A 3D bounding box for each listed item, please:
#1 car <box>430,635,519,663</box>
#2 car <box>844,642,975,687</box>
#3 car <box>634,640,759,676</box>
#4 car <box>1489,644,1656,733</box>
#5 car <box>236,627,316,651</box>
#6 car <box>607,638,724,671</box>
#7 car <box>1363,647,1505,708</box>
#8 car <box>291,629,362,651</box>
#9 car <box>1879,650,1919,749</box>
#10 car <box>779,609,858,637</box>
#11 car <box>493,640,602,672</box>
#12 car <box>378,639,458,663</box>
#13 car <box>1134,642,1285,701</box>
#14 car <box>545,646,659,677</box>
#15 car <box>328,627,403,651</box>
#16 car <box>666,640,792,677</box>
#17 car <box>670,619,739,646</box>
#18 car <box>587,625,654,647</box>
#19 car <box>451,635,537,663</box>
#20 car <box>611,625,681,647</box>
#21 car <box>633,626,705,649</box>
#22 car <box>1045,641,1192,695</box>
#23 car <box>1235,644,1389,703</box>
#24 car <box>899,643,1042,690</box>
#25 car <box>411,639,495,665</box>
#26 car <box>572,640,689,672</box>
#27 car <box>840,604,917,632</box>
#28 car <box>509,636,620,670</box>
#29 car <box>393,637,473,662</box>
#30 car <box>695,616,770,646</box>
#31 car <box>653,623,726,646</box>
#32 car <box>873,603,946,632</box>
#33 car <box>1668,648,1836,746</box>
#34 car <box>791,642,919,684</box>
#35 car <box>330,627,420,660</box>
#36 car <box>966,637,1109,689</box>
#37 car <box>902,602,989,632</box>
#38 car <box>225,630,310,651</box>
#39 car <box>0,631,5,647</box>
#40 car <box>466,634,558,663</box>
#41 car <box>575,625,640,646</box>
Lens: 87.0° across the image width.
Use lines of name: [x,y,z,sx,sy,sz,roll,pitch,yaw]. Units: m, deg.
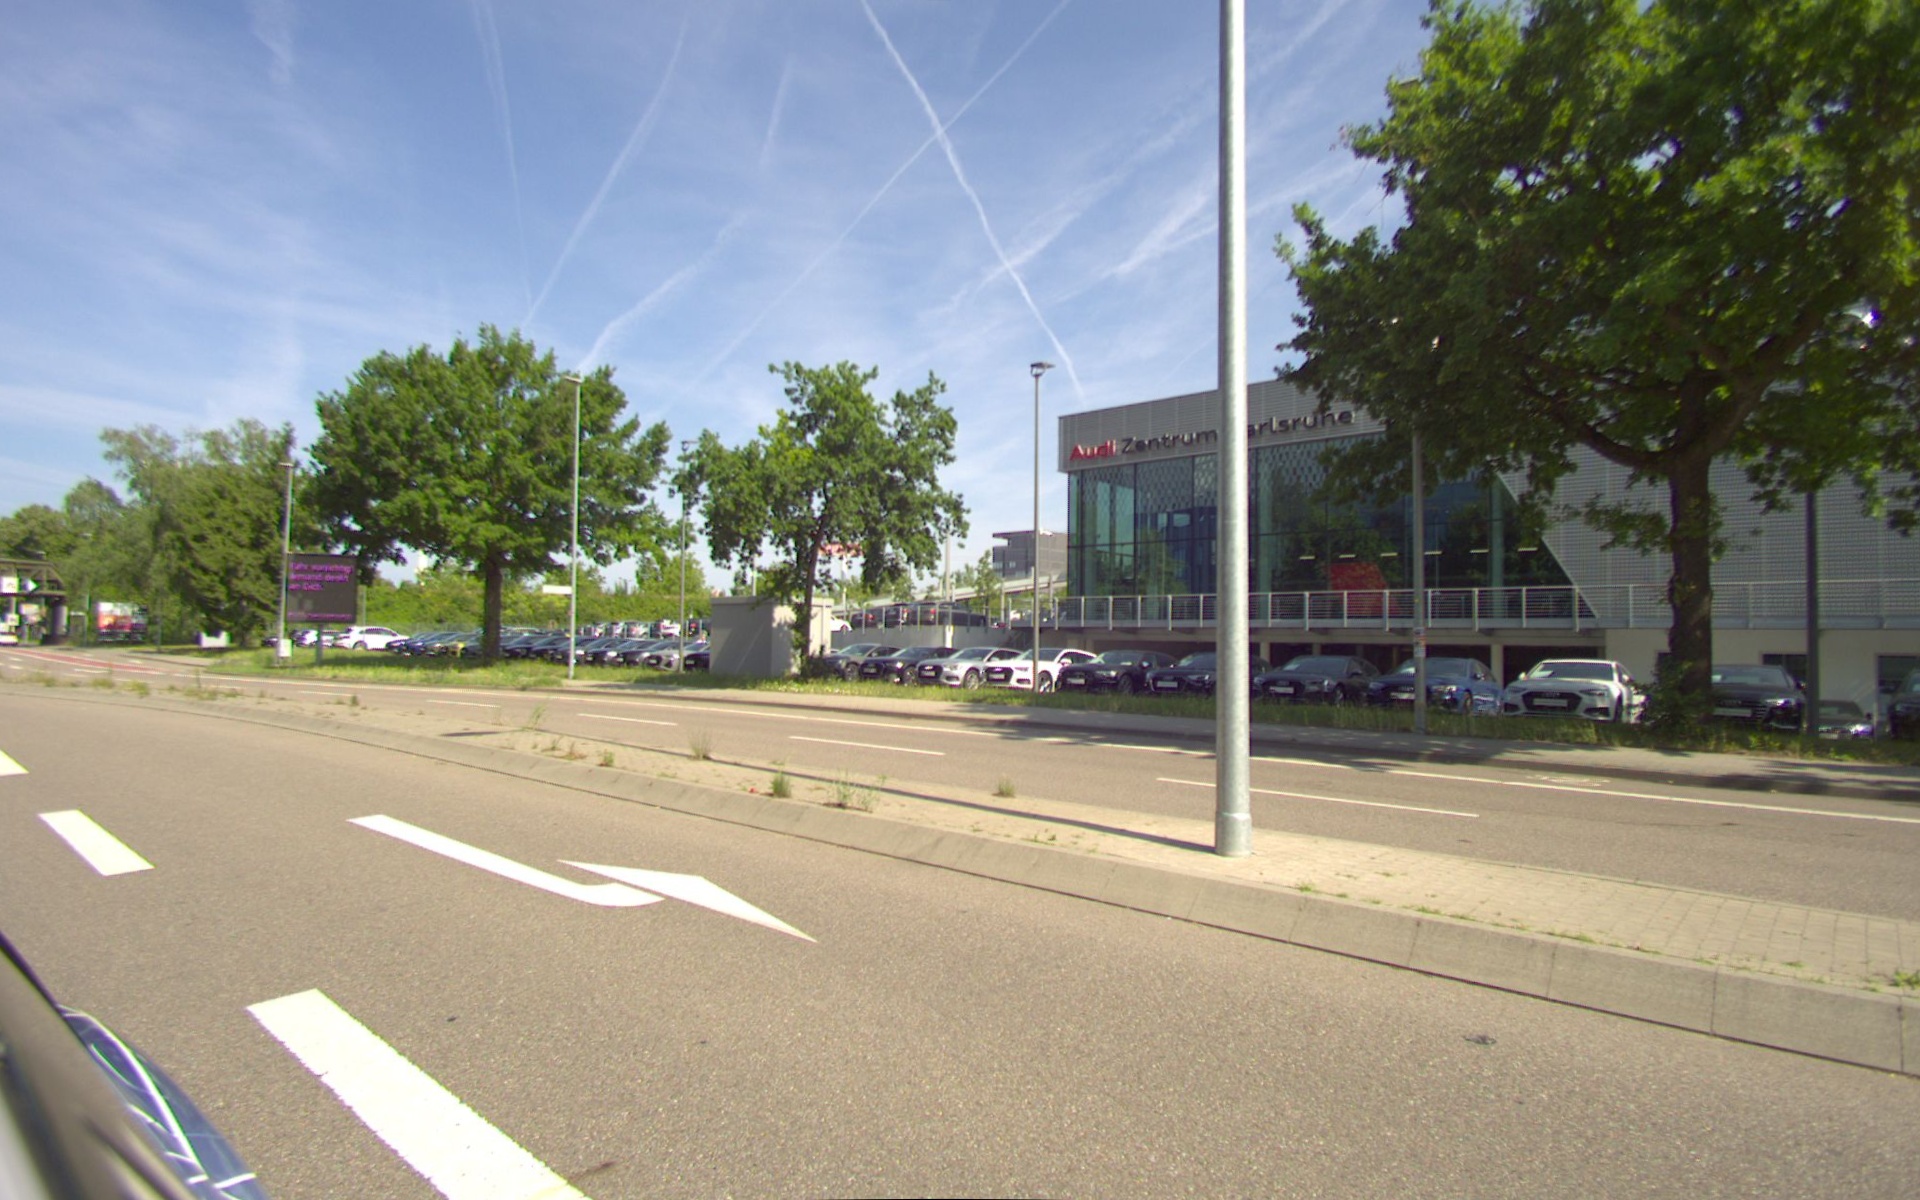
car: [-25.797,2.629,53.873,1.838,1.351,3.848,-2,-5,39]
car: [-1.511,2.020,31.401,1.895,1.165,3.947,-2,-7,39]
car: [-10.327,2.267,39.928,2.002,1.300,4.454,-1,-3,39]
car: [11.595,1.697,19.065,2.000,1.453,3.944,-2,-7,42]
car: [-46.883,2.660,69.443,1.999,1.558,4.169,-2,-2,41]
car: [-12.023,2.226,41.565,1.690,1.300,4.454,-1,-3,39]
car: [9.836,1.625,20.852,1.695,1.042,4.066,-2,-7,39]
car: [-42.075,2.632,67.244,1.816,1.381,3.641,-2,-2,41]
car: [15.869,1.650,15.939,2.000,1.453,4.095,-2,-7,42]
car: [-8.291,1.388,59.506,1.978,1.496,4.454,-1,-3,39]
car: [-19.792,2.683,48.740,1.978,1.487,4.454,-1,-3,39]
car: [-31.571,2.939,58.998,1.743,1.295,3.753,-2,-2,39]
car: [6.097,1.760,24.412,1.953,1.199,4.132,-2,-7,39]
car: [-15.914,2.712,45.160,1.918,1.300,4.454,-1,-3,39]
car: [-39.035,2.546,66.520,1.848,1.497,3.941,-2,-2,45]
car: [-8.690,2.207,38.392,1.918,1.300,4.454,-1,-3,39]
car: [-16.767,2.153,66.616,1.663,1.718,4.225,-1,-3,39]
car: [-24.495,2.593,73.119,1.997,1.488,4.161,-2,-2,38]
car: [-23.970,2.528,52.110,1.863,1.295,3.558,-2,-5,39]
car: [-22.148,2.530,71.515,1.889,1.429,4.454,-2,-2,39]
car: [-20.074,2.602,69.882,1.978,1.496,4.454,-1,-3,39]
car: [4.197,1.797,26.371,1.953,1.199,4.132,-2,-7,39]
car: [7.944,1.668,22.595,1.953,1.086,4.132,-2,-7,39]
car: [0.367,1.978,29.899,2.085,1.165,4.132,-2,-7,39]
car: [-27.762,2.852,55.485,1.662,1.295,3.704,-2,-5,39]
car: [-14.026,2.386,43.269,1.918,1.300,4.454,-1,-3,39]
car: [-4.490,1.016,56.111,2.051,1.507,3.945,-2,-2,41]
car: [-18.350,2.448,47.147,1.918,1.487,4.454,-1,-3,39]
car: [-29.718,2.800,57.098,1.743,1.295,3.558,-2,-5,39]
car: [-14.583,2.003,65.126,1.978,1.829,4.454,-1,-3,39]
car: [-18.254,2.336,68.424,1.978,1.496,4.454,-1,-3,39]
car: [-2.666,0.955,54.346,1.667,1.507,3.945,-2,-2,41]
car: [13.781,1.712,17.525,2.000,1.453,4.203,-2,-7,42]
car: [-3.391,2.089,33.148,1.895,1.165,3.947,-2,-7,39]
car: [-35.947,2.640,62.231,2.000,1.889,4.415,-2,-2,42]
car: [2.227,1.779,28.163,1.953,1.199,4.132,-2,-7,39]
car: [-0.705,0.895,52.239,1.985,1.507,4.472,-2,-2,41]
car: [-48.937,2.837,71.600,1.999,1.400,4.637,-2,-2,41]
car: [-98.070,3.884,102.403,1.970,1.630,4.107,5,-5,-44]
car: [-22.264,2.426,50.399,1.984,1.295,3.642,-2,-5,39]
car: [-26.102,2.603,75.107,1.997,1.488,4.161,-2,-2,38]
